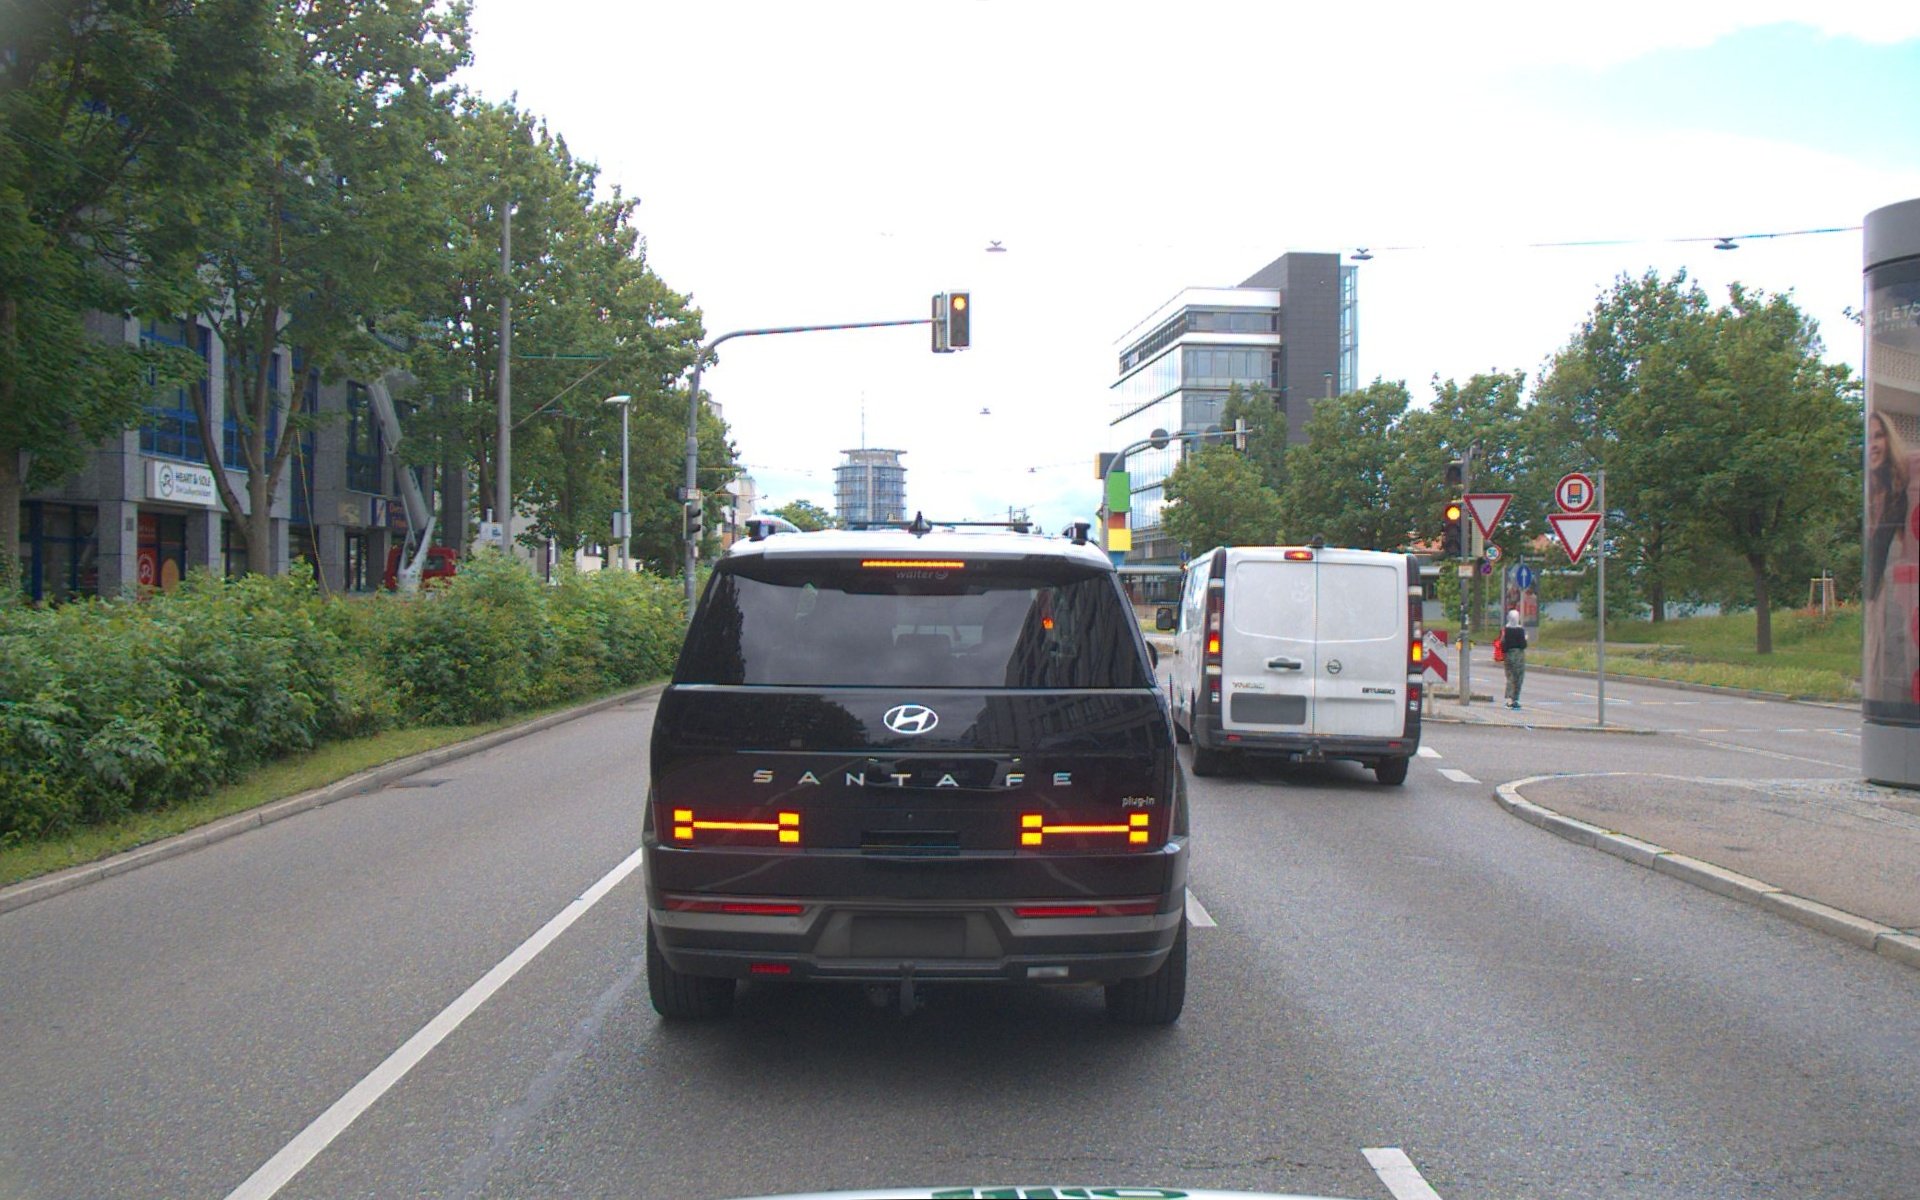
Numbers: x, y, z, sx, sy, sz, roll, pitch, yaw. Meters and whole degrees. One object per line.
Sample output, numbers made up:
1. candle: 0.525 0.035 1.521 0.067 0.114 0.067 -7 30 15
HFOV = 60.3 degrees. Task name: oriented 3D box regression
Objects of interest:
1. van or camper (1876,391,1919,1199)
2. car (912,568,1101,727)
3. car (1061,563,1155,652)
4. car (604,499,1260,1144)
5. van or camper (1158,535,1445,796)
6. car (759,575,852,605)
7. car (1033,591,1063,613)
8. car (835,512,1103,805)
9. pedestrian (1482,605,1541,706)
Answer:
1. van or camper: 2.756 0.586 0.773 1.822 1.944 5.031 0 0 -1
2. car: 0.693 0.537 20.493 1.738 1.747 4.342 1 0 10
3. car: 3.573 0.181 40.588 1.952 2.049 4.000 1 0 0
4. car: -0.100 0.608 6.556 1.831 1.791 3.879 0 0 -1
5. van or camper: 2.990 0.510 15.480 1.952 2.049 4.654 1 0 3
6. car: -8.731 -0.548 93.632 5.180 1.624 1.997 1 -1 -6
7. car: 7.006 0.177 131.908 1.954 1.713 3.997 1 0 -3
8. car: 0.035 0.399 13.488 1.876 2.038 3.879 0 0 -1
9. pedestrian: 9.024 0.902 27.057 0.733 1.612 0.565 2 0 -41
